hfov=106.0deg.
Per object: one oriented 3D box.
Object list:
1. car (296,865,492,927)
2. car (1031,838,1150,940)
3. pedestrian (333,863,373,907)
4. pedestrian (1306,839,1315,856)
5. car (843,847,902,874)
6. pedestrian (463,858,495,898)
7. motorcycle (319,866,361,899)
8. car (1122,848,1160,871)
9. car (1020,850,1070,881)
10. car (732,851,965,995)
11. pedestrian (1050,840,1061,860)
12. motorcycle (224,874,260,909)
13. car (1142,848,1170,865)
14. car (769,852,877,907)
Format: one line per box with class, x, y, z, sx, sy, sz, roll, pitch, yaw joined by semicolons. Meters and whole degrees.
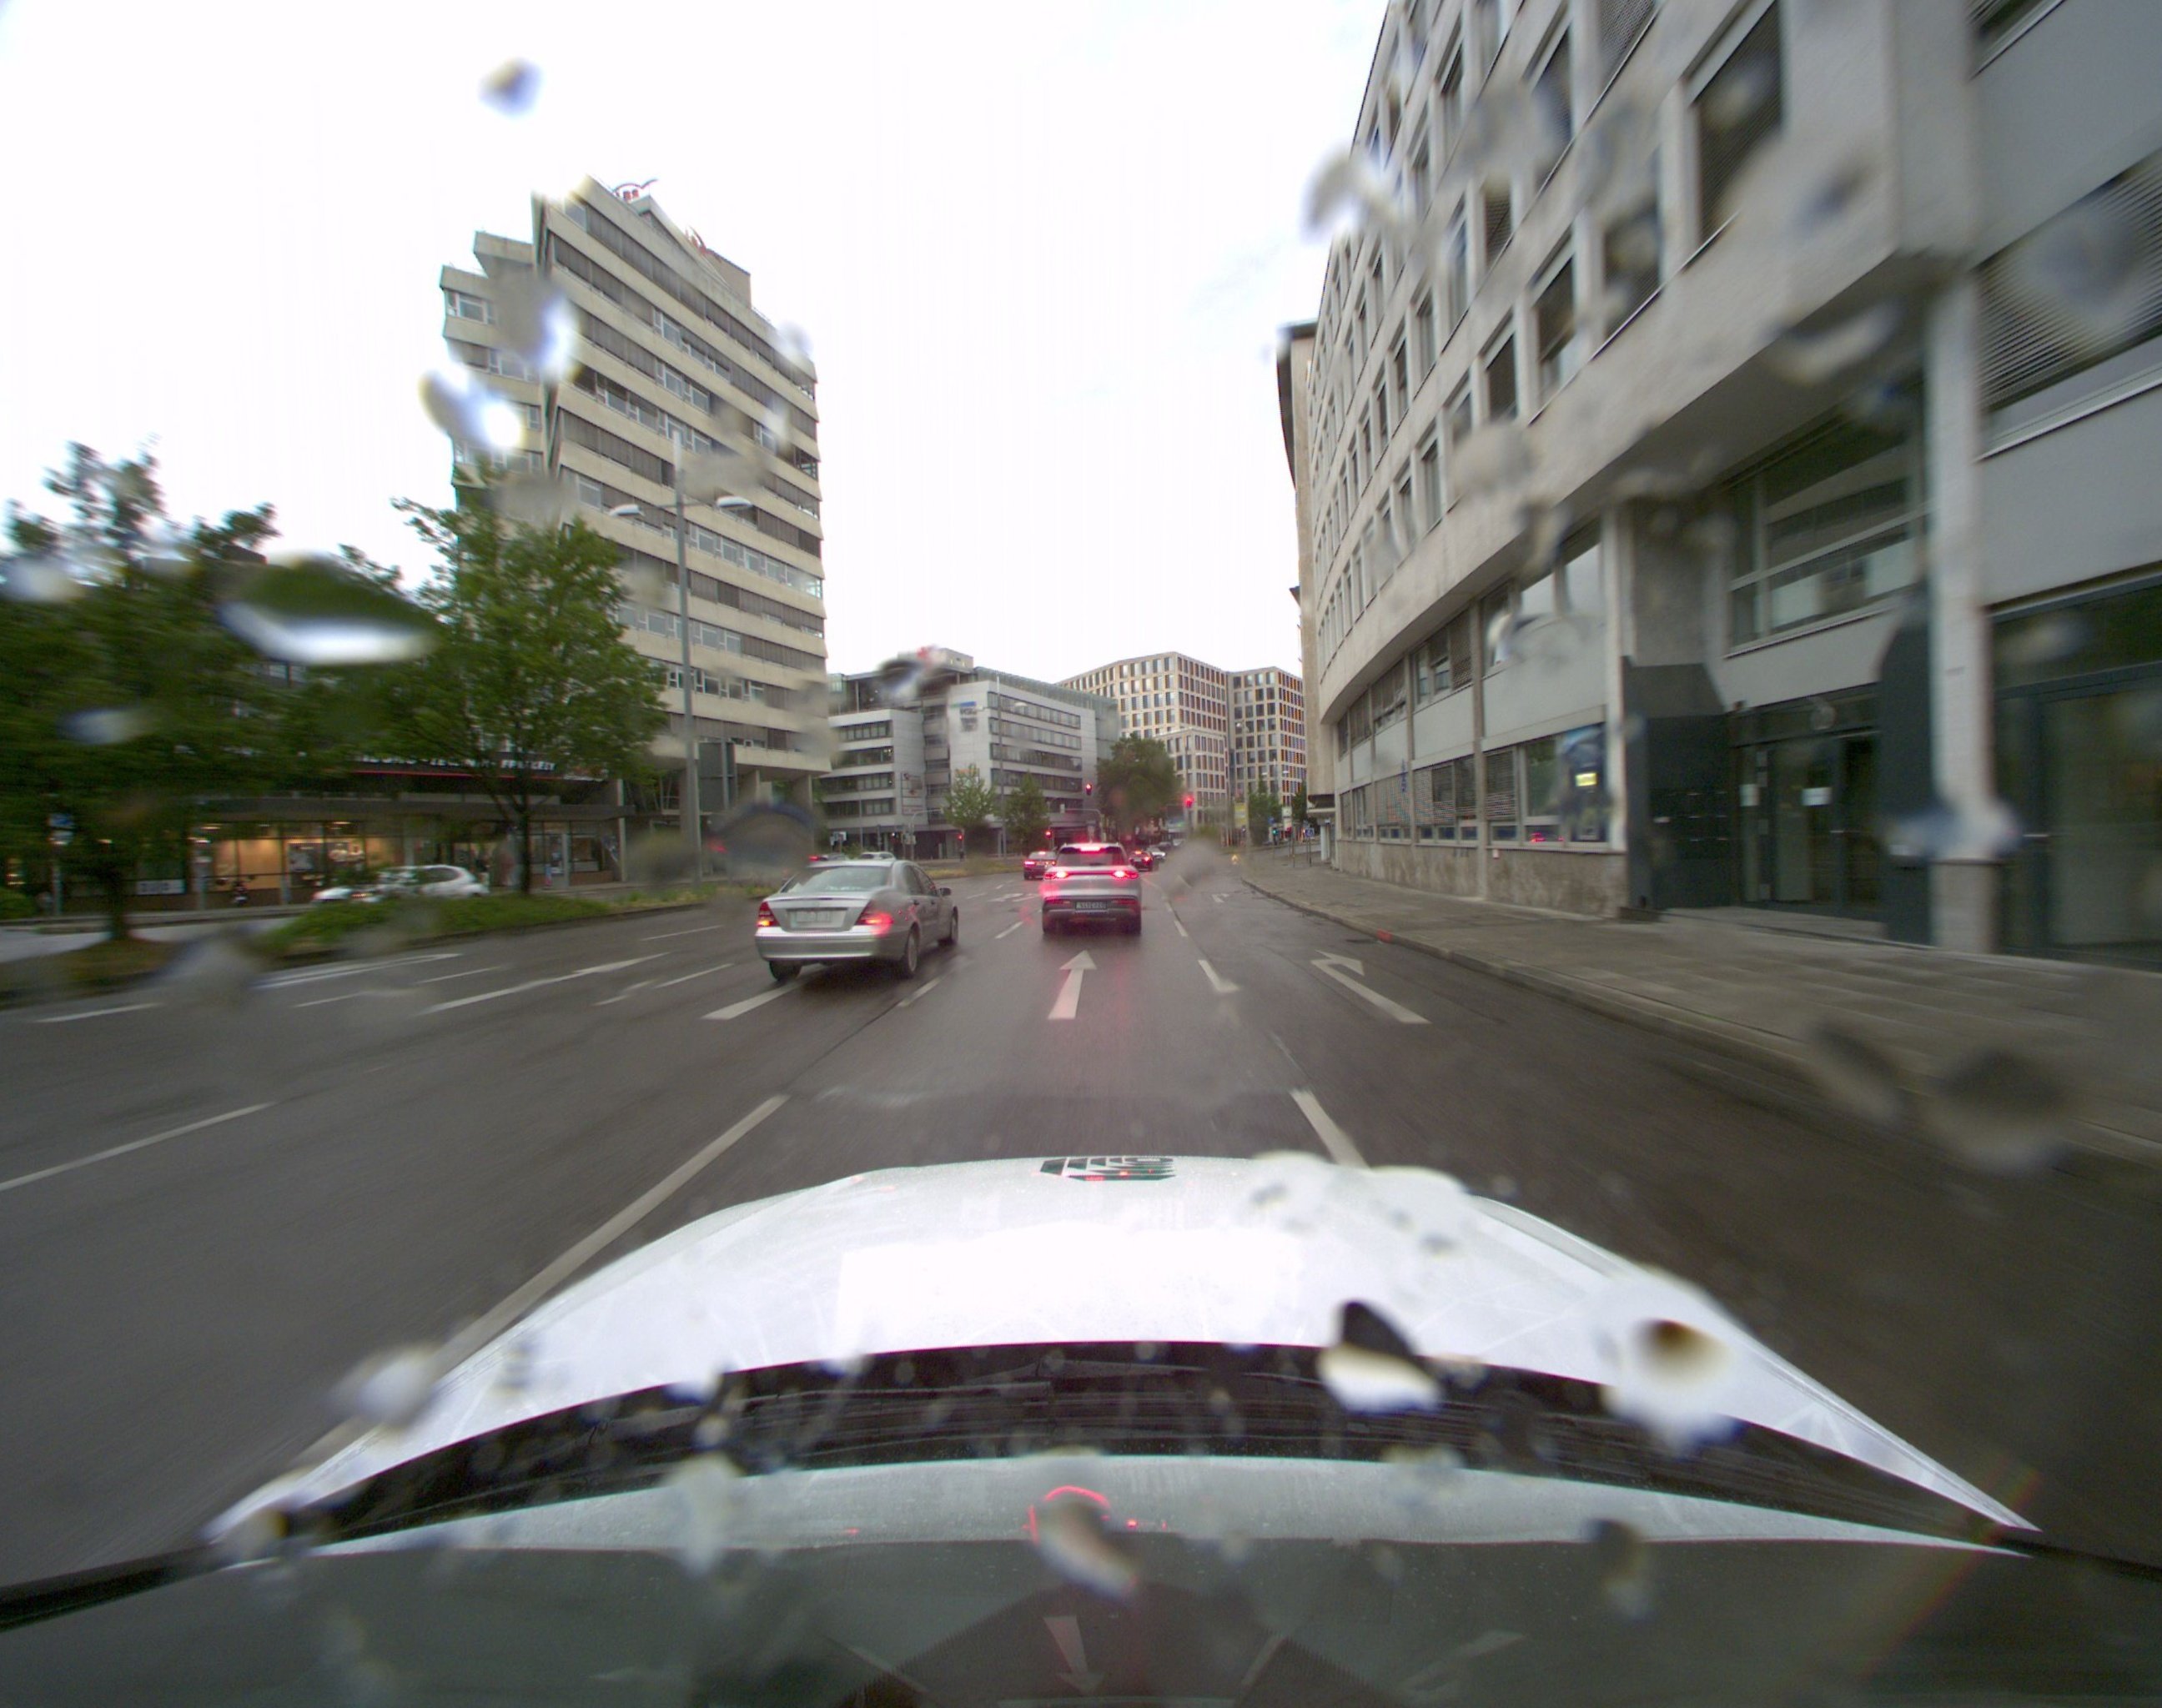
car;-18.890;1.093;22.683;1.673;1.431;4.091;-1;1;7
car;0.209;0.568;16.208;1.986;1.709;4.484;-1;1;1
pedestrian;-30.798;1.300;34.464;0.810;1.832;0.929;-1;1;20
pedestrian;22.519;-0.673;79.976;0.721;1.668;0.694;-1;0;20
car;-14.162;0.397;55.540;1.723;1.728;4.515;0;1;18
pedestrian;-28.533;1.134;38.628;0.721;1.832;0.929;-1;0;20
motorcycle;-32.801;1.225;36.040;2.855;1.374;0.809;-1;0;36
car;4.423;0.373;59.640;1.940;1.530;4.017;-1;1;15
car;-1.876;0.570;43.566;1.944;1.530;4.010;-1;1;8
car;-2.825;0.743;10.933;1.675;1.486;4.200;-1;1;3
pedestrian;-2.214;-0.344;71.877;0.919;1.738;0.729;-1;0;-1
motorcycle;-34.718;1.526;33.697;2.784;1.333;0.728;-1;0;38
car;8.167;0.230;89.319;1.993;1.749;4.518;-1;1;-8
car;-8.249;0.757;26.485;1.987;1.544;4.483;-1;1;1
